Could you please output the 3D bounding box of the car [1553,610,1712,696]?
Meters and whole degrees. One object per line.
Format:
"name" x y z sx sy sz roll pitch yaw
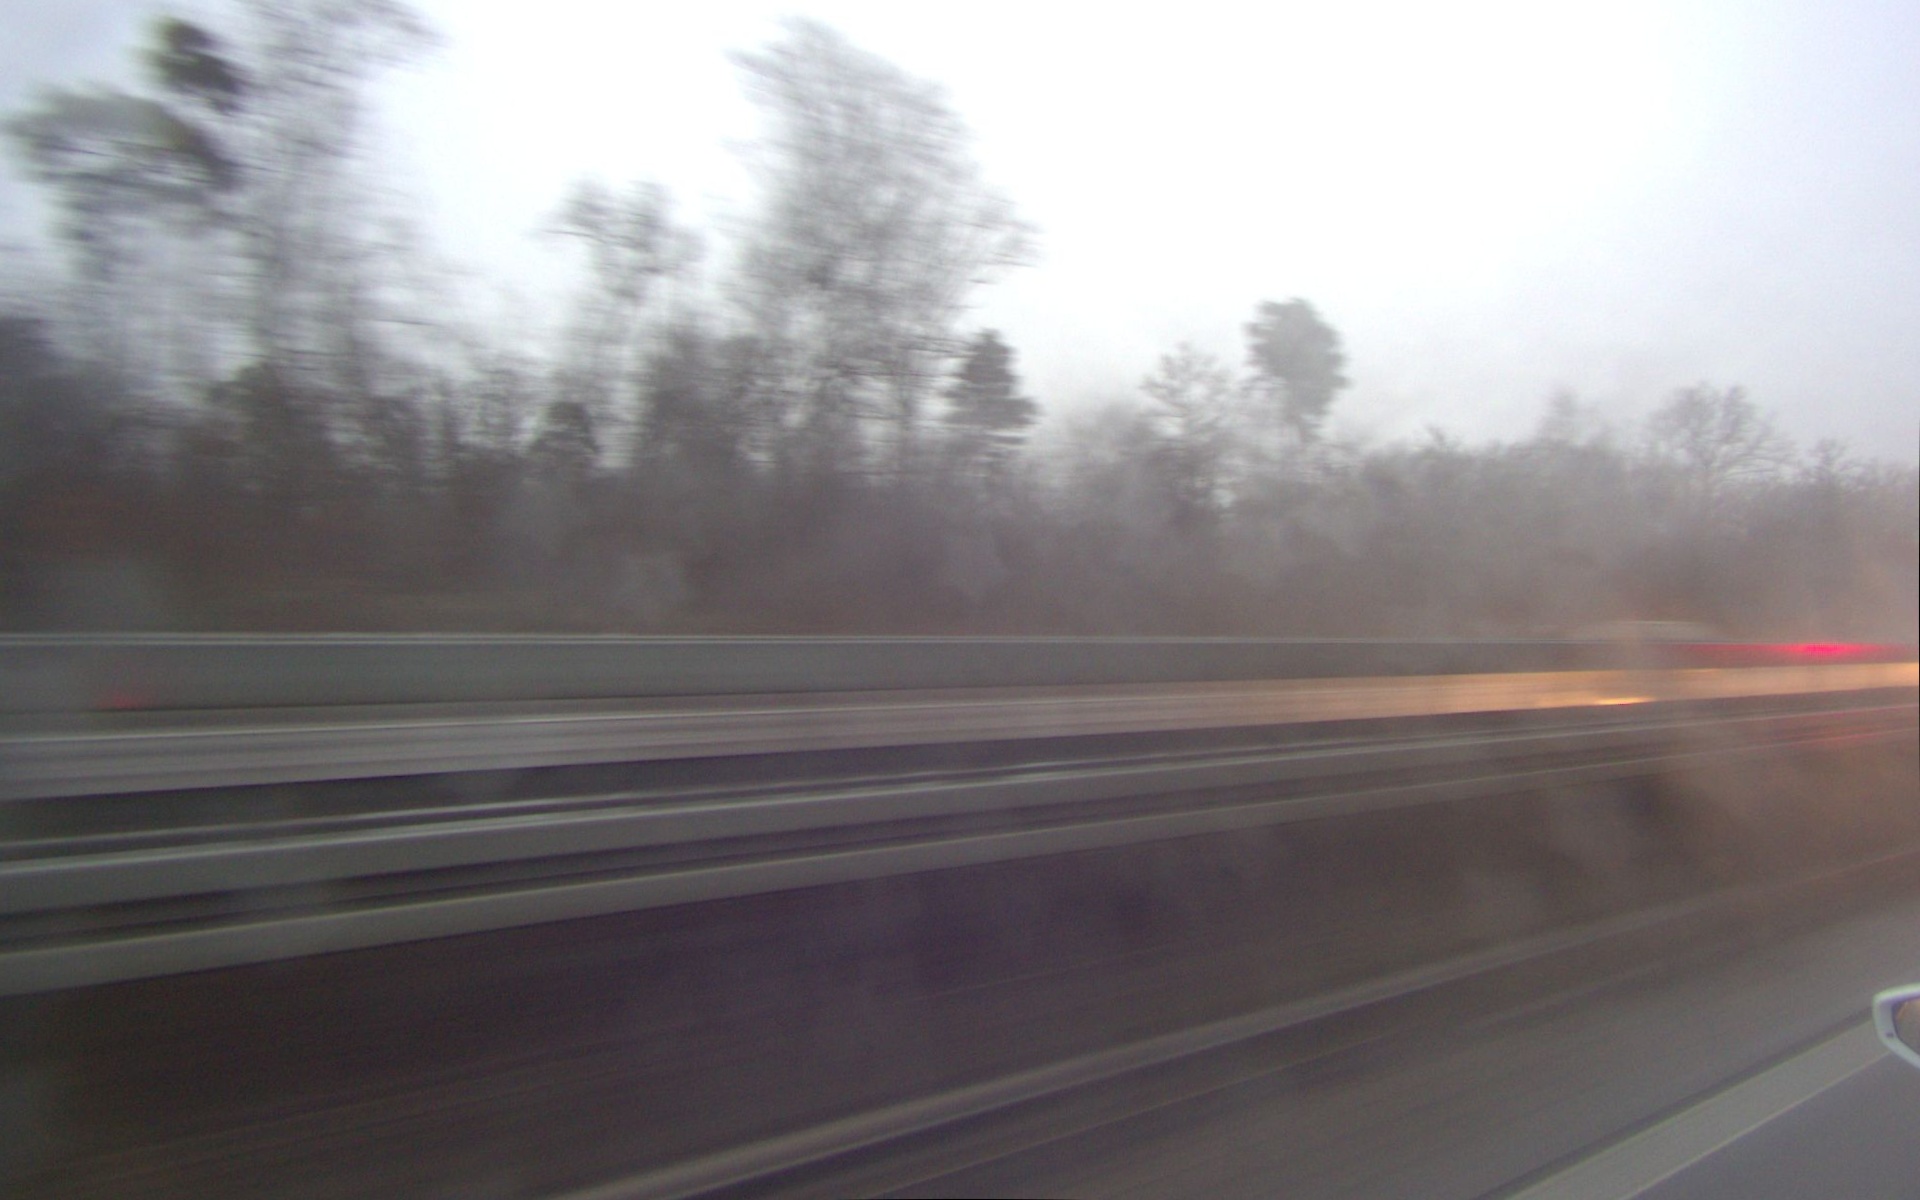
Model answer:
"car" 14.675 1.137 21.890 3.461 1.718 1.534 2 0 -31
